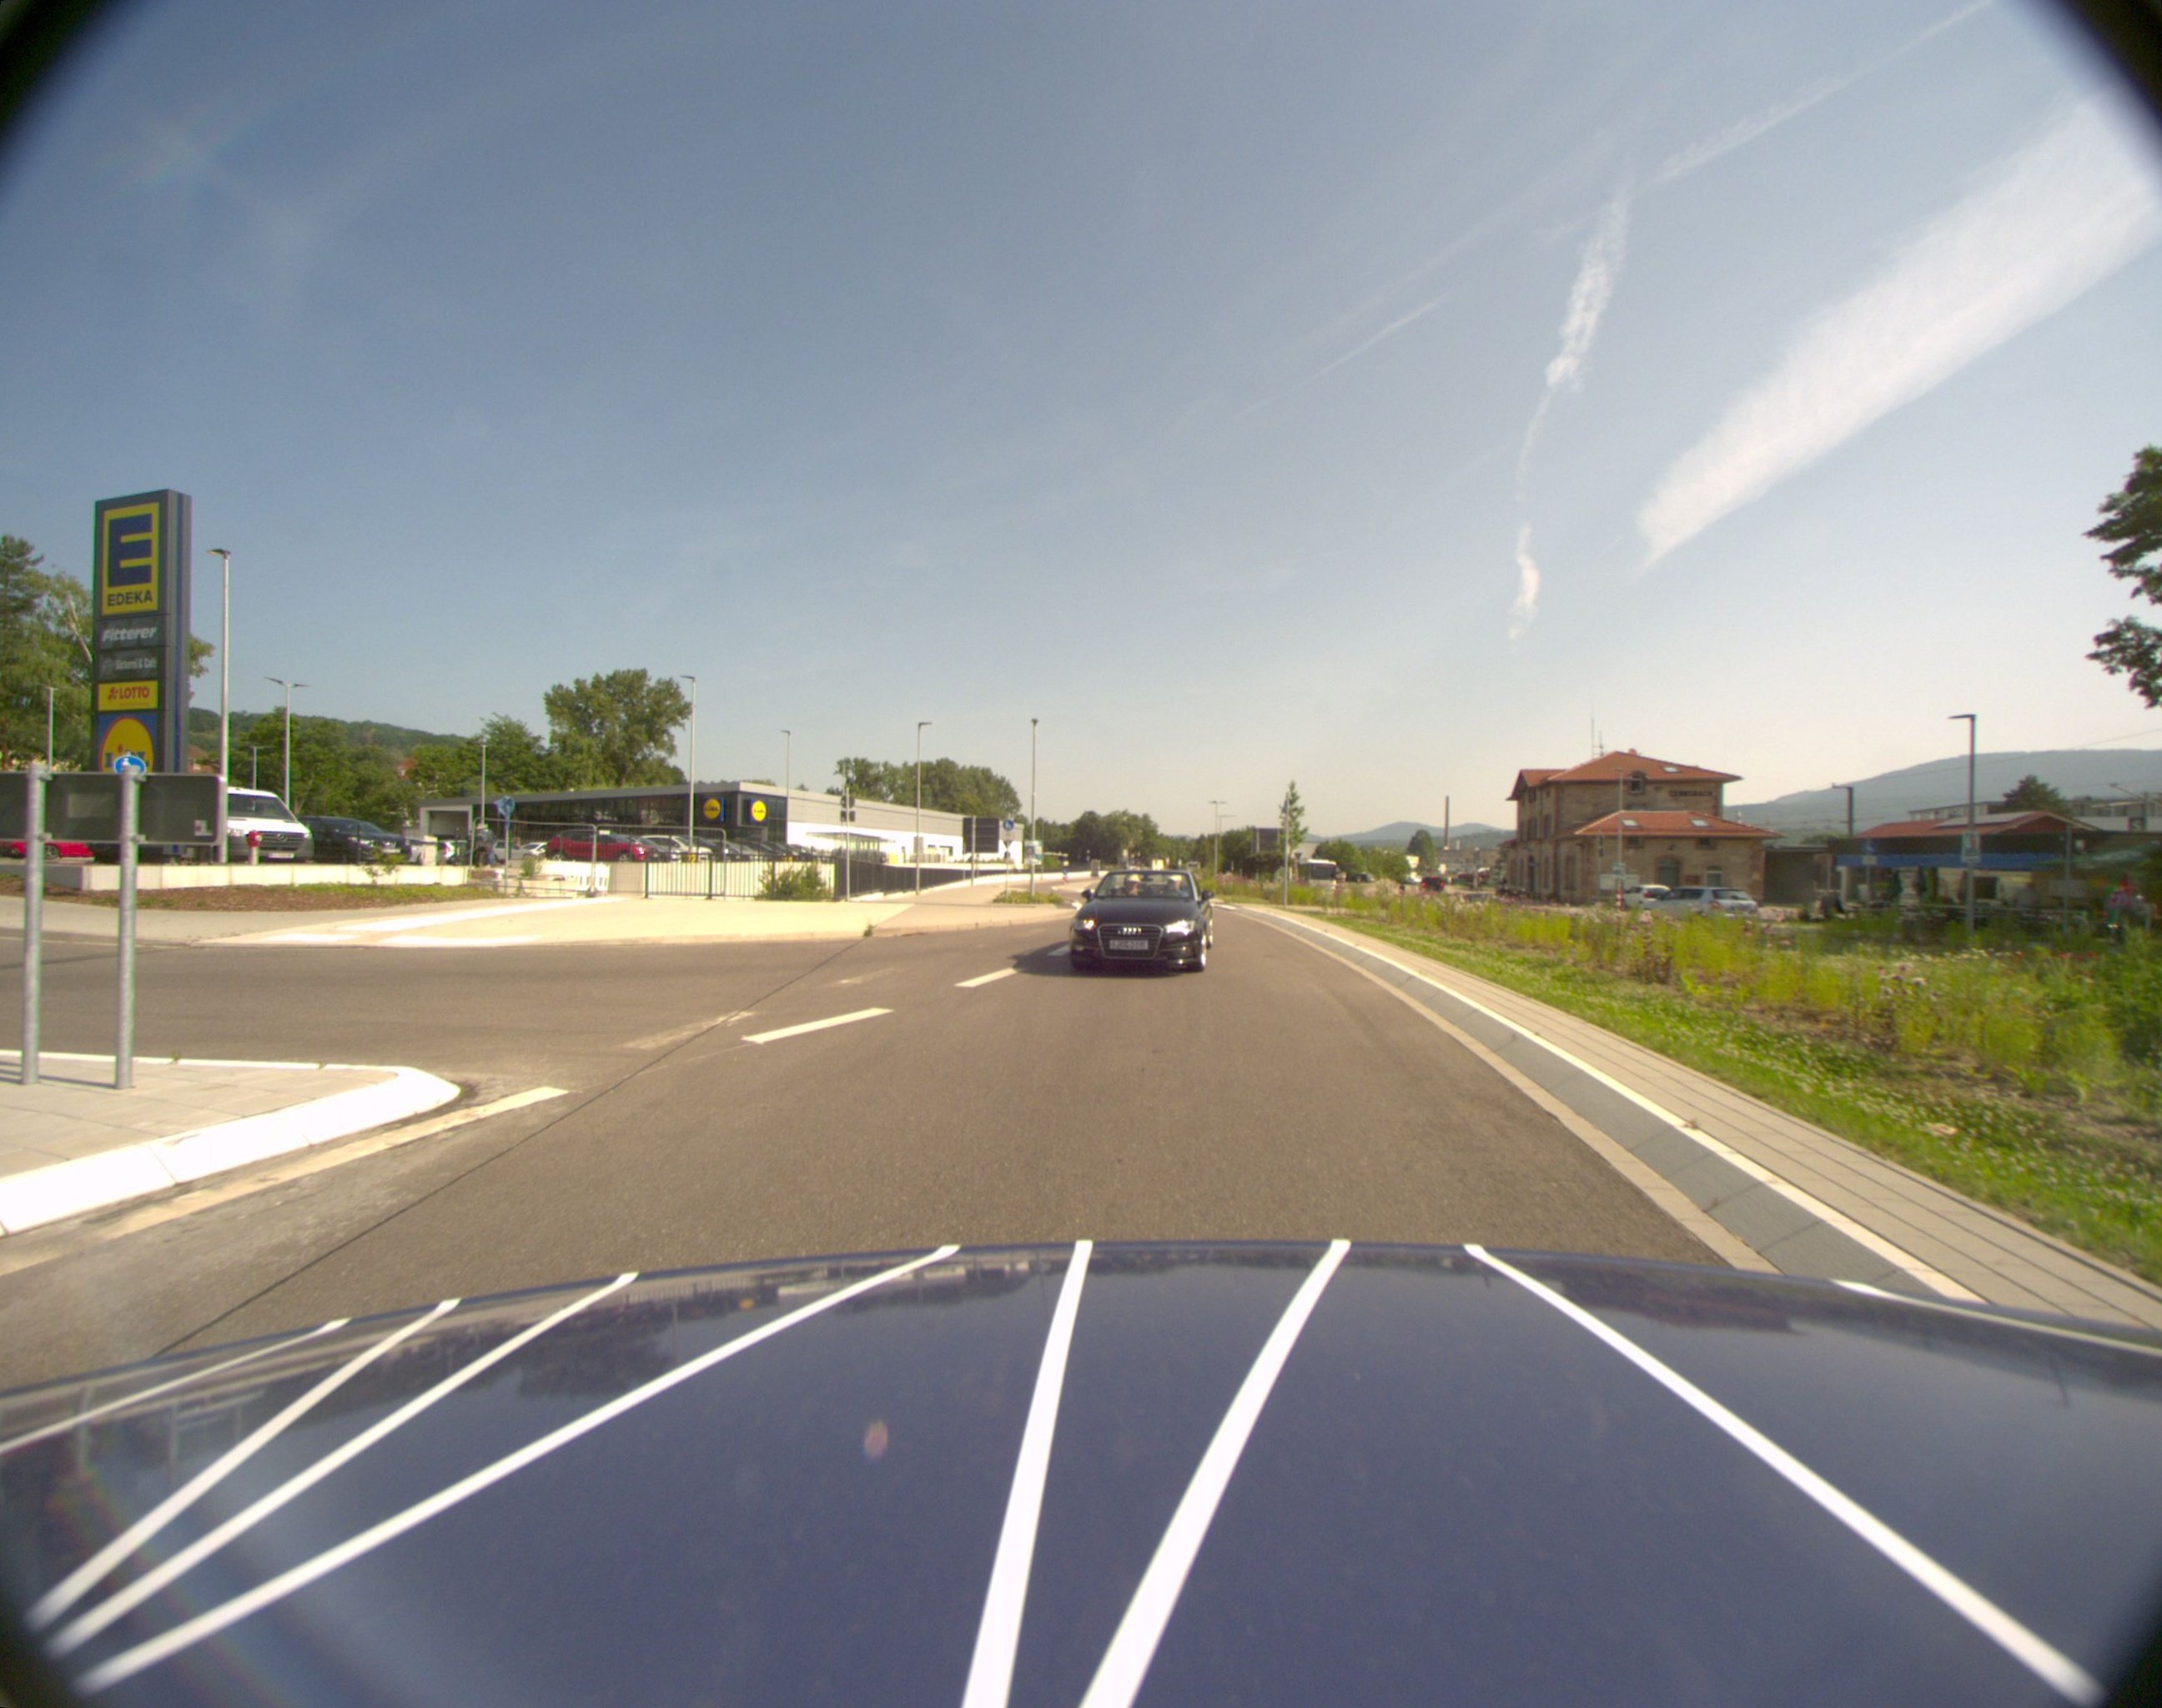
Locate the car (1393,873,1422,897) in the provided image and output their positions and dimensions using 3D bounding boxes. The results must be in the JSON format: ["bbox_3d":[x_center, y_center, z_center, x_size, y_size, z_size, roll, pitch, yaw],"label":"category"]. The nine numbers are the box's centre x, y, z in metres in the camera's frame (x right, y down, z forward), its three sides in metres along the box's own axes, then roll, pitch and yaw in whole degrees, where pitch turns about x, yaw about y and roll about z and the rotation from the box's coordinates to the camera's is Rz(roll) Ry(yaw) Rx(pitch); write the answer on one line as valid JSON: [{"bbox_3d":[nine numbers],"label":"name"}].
[{"bbox_3d":[29.663,2.796,68.933,1.973,1.953,5.167,-1,-1,27],"label":"car"}]

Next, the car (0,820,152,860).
[{"bbox_3d":[-42.962,-0.536,32.422,1.760,1.564,3.790,-1,-1,11],"label":"car"}]

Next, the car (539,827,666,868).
[{"bbox_3d":[-19.535,-0.246,31.157,4.020,1.564,1.779,-1,-1,-4],"label":"car"}]

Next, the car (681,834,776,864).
[{"bbox_3d":[-19.423,-0.270,41.976,4.415,1.564,1.703,-1,-1,-7],"label":"car"}]

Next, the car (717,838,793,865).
[{"bbox_3d":[-20.421,-0.166,47.725,3.999,1.564,1.703,-1,-1,-7],"label":"car"}]

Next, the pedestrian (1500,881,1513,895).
[{"bbox_3d":[35.145,2.798,62.746,0.789,1.155,0.507,-1,0,19],"label":"pedestrian"}]

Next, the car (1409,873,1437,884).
[{"bbox_3d":[57.710,4.122,128.258,3.997,1.717,1.838,-1,-1,0],"label":"car"}]

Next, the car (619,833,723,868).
[{"bbox_3d":[-19.656,-0.166,36.558,3.999,1.564,1.703,-1,-1,-7],"label":"car"}]

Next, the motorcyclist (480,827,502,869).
[{"bbox_3d":[-22.002,-0.226,28.333,0.515,1.533,0.581,-1,0,-27],"label":"motorcyclist"}]

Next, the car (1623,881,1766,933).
[{"bbox_3d":[21.658,1.820,27.056,1.674,1.522,3.999,2,0,-3],"label":"car"}]

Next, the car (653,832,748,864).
[{"bbox_3d":[-19.643,-0.303,39.336,3.999,1.564,1.703,-1,-1,-7],"label":"car"}]

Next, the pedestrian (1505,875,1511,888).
[{"bbox_3d":[38.768,2.511,68.966,0.371,1.155,0.507,-1,0,19],"label":"pedestrian"}]

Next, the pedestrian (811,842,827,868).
[{"bbox_3d":[-20.612,0.049,59.705,0.832,2.001,0.864,-1,0,9],"label":"pedestrian"}]

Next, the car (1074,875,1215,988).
[{"bbox_3d":[0.862,1.012,11.437,1.721,1.314,4.225,0,-1,2],"label":"car"}]

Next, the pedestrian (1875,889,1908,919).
[{"bbox_3d":[32.694,2.022,30.657,0.559,1.157,0.680,-1,0,-4],"label":"pedestrian"}]

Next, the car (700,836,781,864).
[{"bbox_3d":[-19.935,-0.222,44.596,3.999,1.564,1.703,-1,-1,-7],"label":"car"}]

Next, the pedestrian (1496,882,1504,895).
[{"bbox_3d":[35.821,2.950,65.020,0.511,1.155,0.507,-1,0,19],"label":"pedestrian"}]

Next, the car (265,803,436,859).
[{"bbox_3d":[-23.387,-0.694,24.374,4.469,1.592,1.835,-1,-1,14],"label":"car"}]

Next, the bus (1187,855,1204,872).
[{"bbox_3d":[22.374,1.891,148.371,2.865,3.173,9.127,0,0,12],"label":"bus"}]

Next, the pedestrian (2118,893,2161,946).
[{"bbox_3d":[32.843,2.019,23.568,0.650,1.580,0.567,-1,0,-15],"label":"pedestrian"}]

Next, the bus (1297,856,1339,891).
[{"bbox_3d":[24.346,1.963,78.549,2.585,3.309,10.597,-1,-1,9],"label":"bus"}]

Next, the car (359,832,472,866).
[{"bbox_3d":[-33.946,-0.231,38.917,1.997,1.608,4.003,-1,-1,8],"label":"car"}]

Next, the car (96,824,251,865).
[{"bbox_3d":[-37.634,-0.332,31.655,1.663,1.564,3.790,-1,-1,11],"label":"car"}]

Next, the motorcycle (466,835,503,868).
[{"bbox_3d":[-21.788,-0.070,27.740,1.898,1.184,0.592,-1,-1,37],"label":"motorcycle"}]

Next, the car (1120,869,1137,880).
[{"bbox_3d":[6.158,2.618,98.298,1.781,1.389,3.999,-1,-1,-3],"label":"car"}]

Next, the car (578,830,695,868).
[{"bbox_3d":[-19.477,-0.215,33.405,4.020,1.564,1.779,-1,-1,-4],"label":"car"}]

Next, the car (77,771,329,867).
[{"bbox_3d":[-24.708,-0.897,21.426,6.081,2.369,2.063,-1,-1,14],"label":"car"}]

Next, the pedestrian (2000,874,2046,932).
[{"bbox_3d":[33.418,1.713,26.963,0.859,2.001,0.708,-1,0,-15],"label":"pedestrian"}]

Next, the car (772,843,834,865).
[{"bbox_3d":[-21.267,0.001,58.165,4.131,1.564,1.703,-1,-1,-7],"label":"car"}]

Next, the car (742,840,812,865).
[{"bbox_3d":[-20.409,-0.118,51.098,3.999,1.564,1.703,-1,-1,-7],"label":"car"}]

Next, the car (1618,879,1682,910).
[{"bbox_3d":[33.182,2.311,44.393,1.677,1.559,3.654,-1,1,13],"label":"car"}]
